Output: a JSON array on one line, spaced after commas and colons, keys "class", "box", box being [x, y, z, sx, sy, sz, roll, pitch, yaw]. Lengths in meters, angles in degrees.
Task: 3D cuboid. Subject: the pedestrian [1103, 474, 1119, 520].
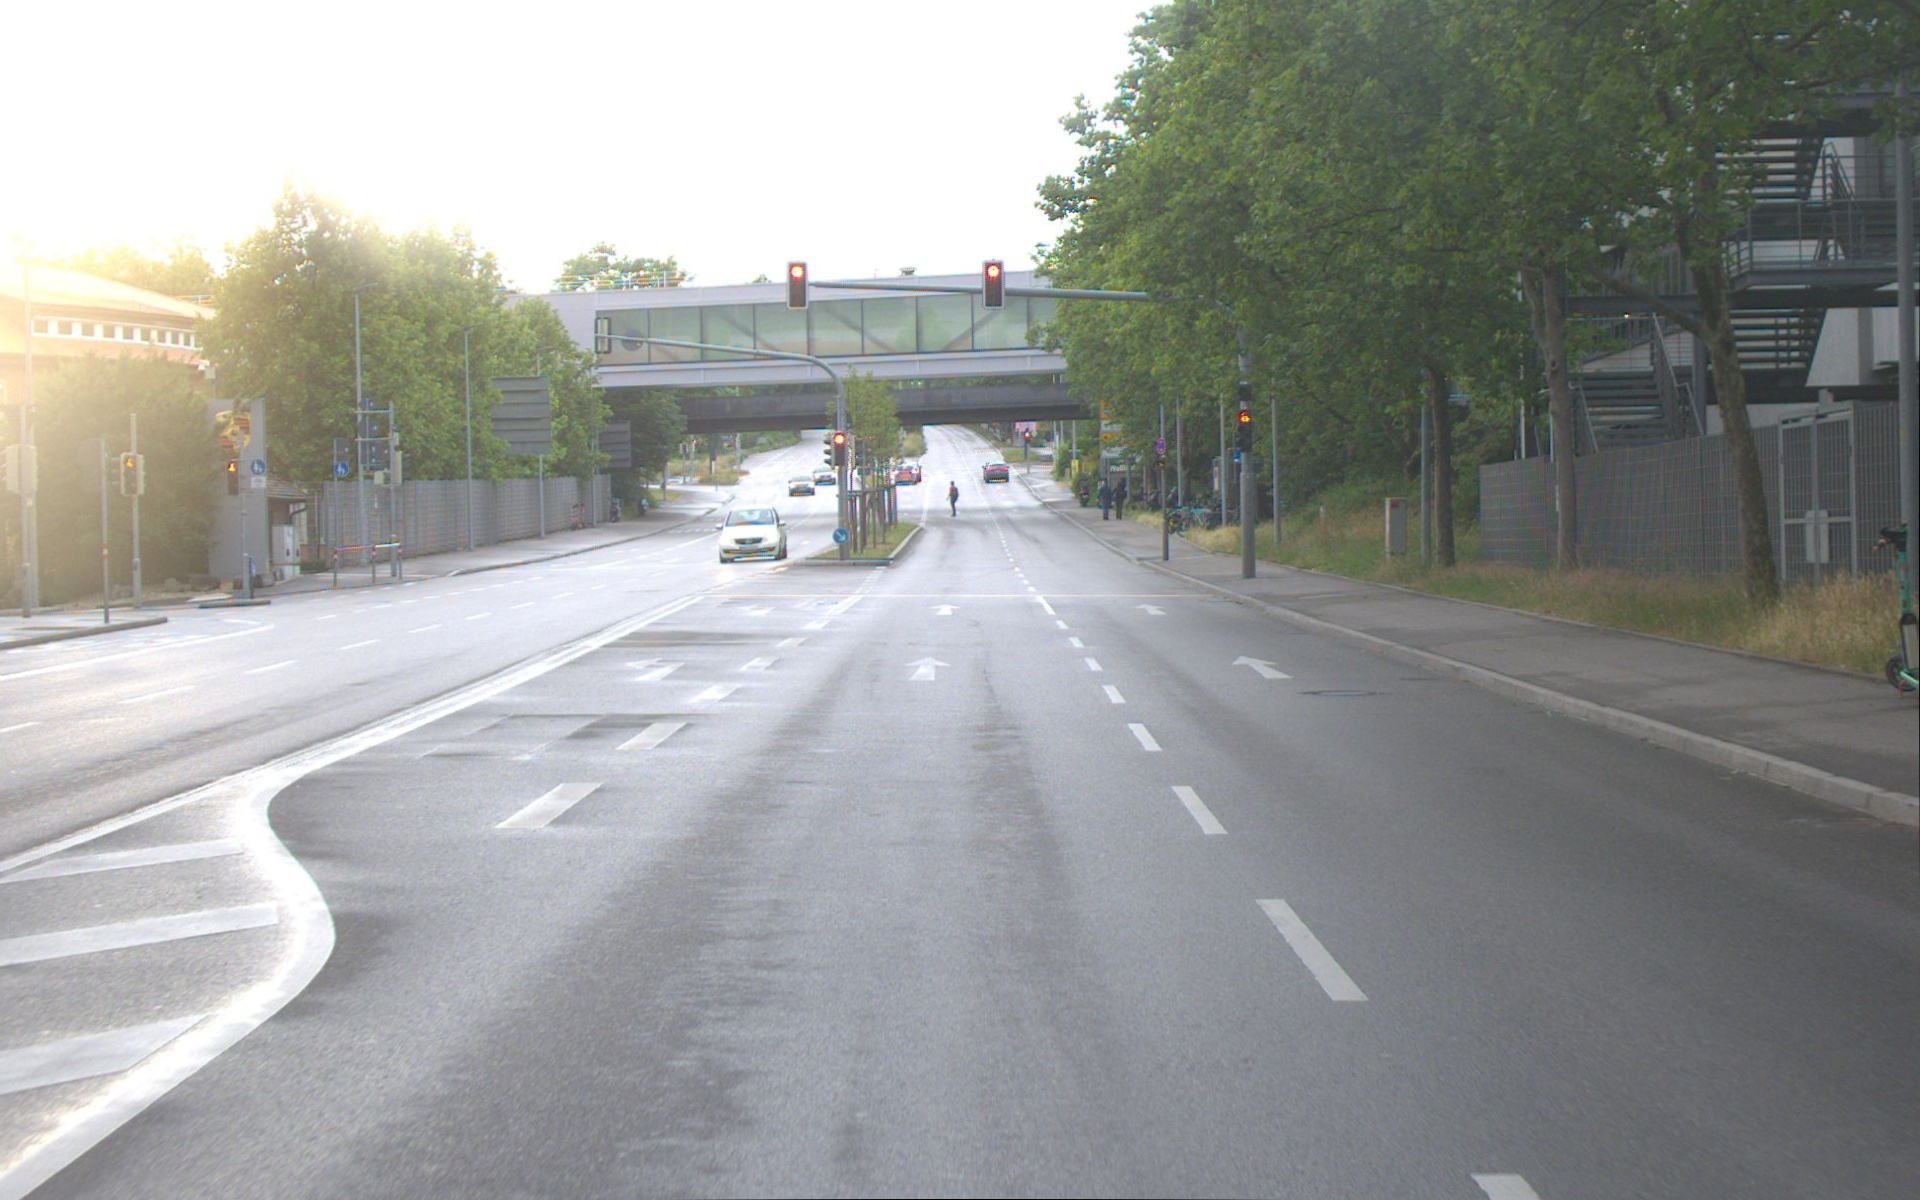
[{"class": "pedestrian", "box": [6.653, -4.542, 151.161, 0.622, 2.006, 0.605, -2, 2, 1]}]

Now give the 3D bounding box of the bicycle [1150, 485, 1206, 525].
[{"class": "bicycle", "box": [8.012, -3.494, 126.454, 1.990, 1.425, 0.723, 1, 1, 2]}]

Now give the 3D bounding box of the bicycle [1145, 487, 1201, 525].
[{"class": "bicycle", "box": [7.720, -3.409, 124.785, 1.990, 1.324, 0.576, 1, 1, 2]}]

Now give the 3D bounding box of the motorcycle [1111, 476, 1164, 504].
[{"class": "motorcycle", "box": [8.305, -5.126, 160.413, 2.369, 1.198, 0.722, -2, 2, 9]}]

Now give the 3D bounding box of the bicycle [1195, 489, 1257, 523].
[{"class": "bicycle", "box": [8.769, -3.093, 113.305, 1.990, 1.091, 0.541, 1, 1, 2]}]

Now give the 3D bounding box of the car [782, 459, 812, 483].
[{"class": "car", "box": [-11.693, -9.228, 246.353, 1.877, 1.619, 3.779, -2, 2, 1]}]

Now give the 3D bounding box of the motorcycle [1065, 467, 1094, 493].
[{"class": "motorcycle", "box": [6.391, -6.429, 184.244, 0.790, 1.307, 2.377, -3, 2, -17]}]

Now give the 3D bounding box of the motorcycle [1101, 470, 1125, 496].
[{"class": "motorcycle", "box": [7.986, -6.076, 179.349, 0.790, 1.307, 2.377, -2, 2, -8]}]

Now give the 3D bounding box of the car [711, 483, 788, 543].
[{"class": "car", "box": [-6.039, -2.523, 99.135, 1.877, 1.619, 3.779, -2, 2, 1]}]

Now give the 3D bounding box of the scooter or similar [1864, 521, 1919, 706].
[{"class": "scooter or similar", "box": [6.624, 0.083, 24.288, 0.329, 1.265, 1.108, -1, 1, 9]}]

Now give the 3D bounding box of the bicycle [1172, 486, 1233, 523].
[{"class": "bicycle", "box": [8.104, -3.190, 114.778, 1.990, 1.212, 0.541, 1, 1, 2]}]

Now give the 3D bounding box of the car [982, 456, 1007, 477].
[{"class": "car", "box": [2.630, -10.121, 260.839, 1.875, 1.492, 4.068, 1, 1, 1]}]
